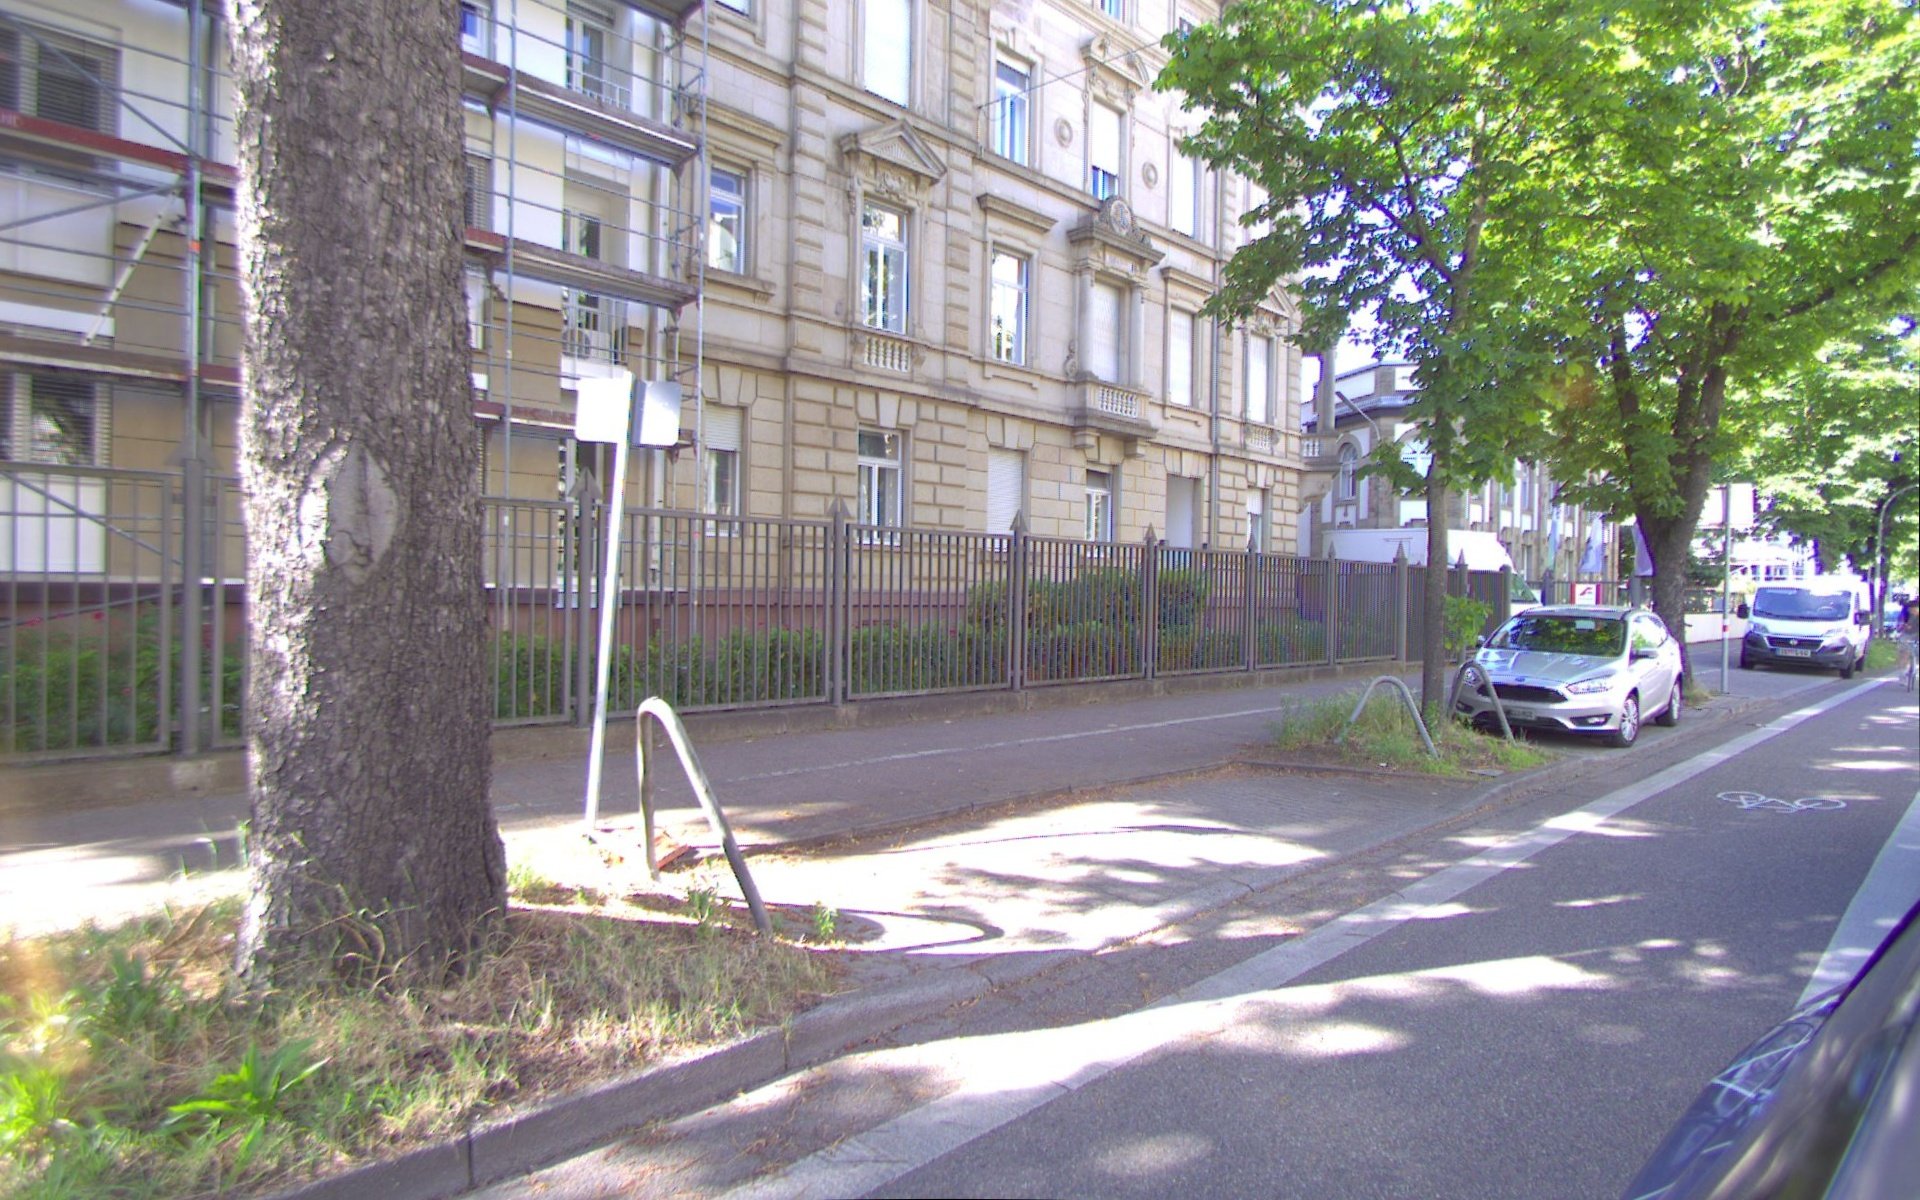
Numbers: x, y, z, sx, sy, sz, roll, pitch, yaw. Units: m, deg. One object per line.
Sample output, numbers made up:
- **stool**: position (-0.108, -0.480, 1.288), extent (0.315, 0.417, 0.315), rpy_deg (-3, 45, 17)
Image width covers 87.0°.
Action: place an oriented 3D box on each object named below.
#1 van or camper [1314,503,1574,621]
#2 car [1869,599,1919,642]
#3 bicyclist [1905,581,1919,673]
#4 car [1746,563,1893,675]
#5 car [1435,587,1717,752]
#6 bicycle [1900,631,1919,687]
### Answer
- **van or camper**: position (12.246, -0.891, 26.373), extent (2.078, 2.660, 6.751), rpy_deg (0, 0, -17)
- **car**: position (37.430, 0.775, 40.078), extent (4.035, 1.569, 1.863), rpy_deg (-1, 1, -44)
- **bicyclist**: position (18.008, 0.499, 18.820), extent (0.862, 1.691, 0.532), rpy_deg (0, 0, -40)
- **car**: position (20.973, 0.351, 24.594), extent (5.710, 2.371, 2.129), rpy_deg (-1, 3, -44)
- **car**: position (7.578, 0.665, 12.265), extent (4.294, 1.562, 1.874), rpy_deg (-1, 3, -44)
- **bicycle**: position (17.979, 1.078, 18.788), extent (2.020, 0.933, 0.535), rpy_deg (-1, 0, -40)
